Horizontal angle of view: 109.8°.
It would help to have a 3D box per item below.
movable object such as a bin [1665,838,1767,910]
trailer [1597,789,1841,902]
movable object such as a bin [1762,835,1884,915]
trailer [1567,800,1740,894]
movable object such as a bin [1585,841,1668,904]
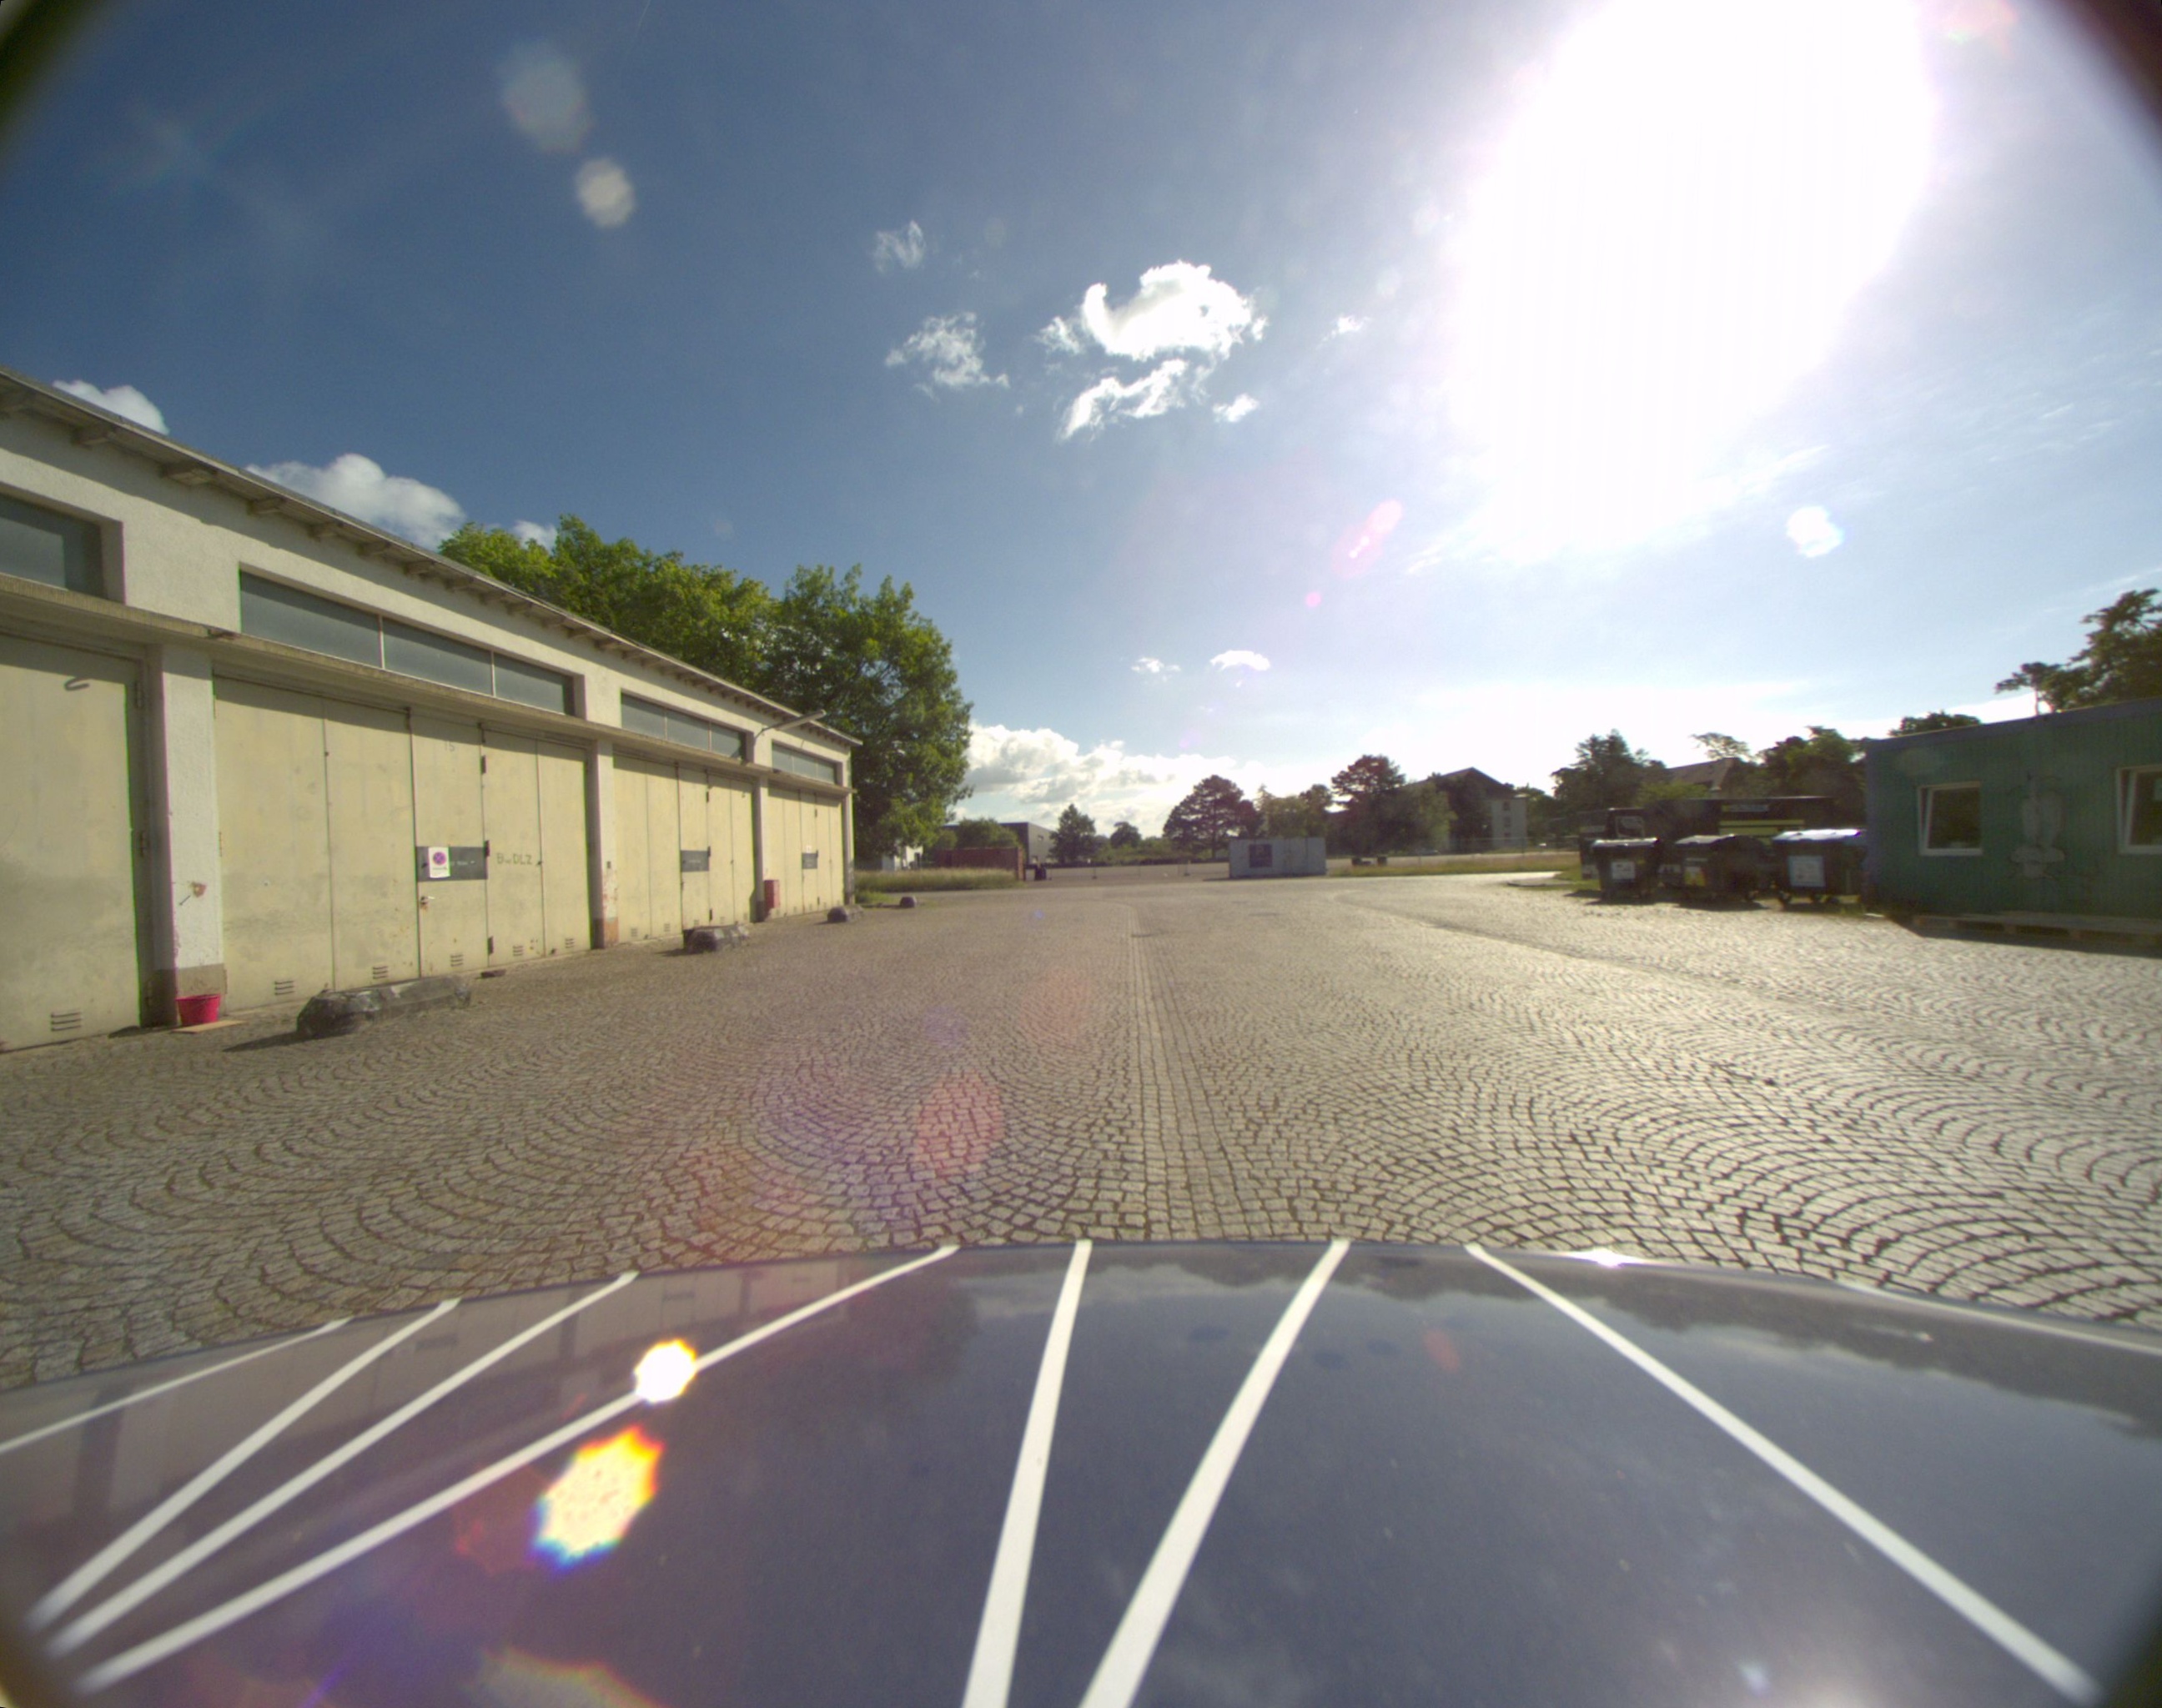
[{"bbox_3d":[13.836,0.416,16.612,1.020,1.449,1.440,-3,1,3],"label":"movable object such as a bin"},{"bbox_3d":[16.415,-0.224,19.726,4.648,2.553,1.951,-3,1,-1],"label":"trailer"},{"bbox_3d":[14.489,0.386,14.892,0.885,1.449,1.439,-3,1,-7],"label":"movable object such as a bin"},{"bbox_3d":[16.585,-0.204,22.171,3.392,2.455,2.045,-3,1,4],"label":"trailer"},{"bbox_3d":[13.464,0.441,18.749,1.158,1.449,1.435,-4,1,-44],"label":"movable object such as a bin"}]
